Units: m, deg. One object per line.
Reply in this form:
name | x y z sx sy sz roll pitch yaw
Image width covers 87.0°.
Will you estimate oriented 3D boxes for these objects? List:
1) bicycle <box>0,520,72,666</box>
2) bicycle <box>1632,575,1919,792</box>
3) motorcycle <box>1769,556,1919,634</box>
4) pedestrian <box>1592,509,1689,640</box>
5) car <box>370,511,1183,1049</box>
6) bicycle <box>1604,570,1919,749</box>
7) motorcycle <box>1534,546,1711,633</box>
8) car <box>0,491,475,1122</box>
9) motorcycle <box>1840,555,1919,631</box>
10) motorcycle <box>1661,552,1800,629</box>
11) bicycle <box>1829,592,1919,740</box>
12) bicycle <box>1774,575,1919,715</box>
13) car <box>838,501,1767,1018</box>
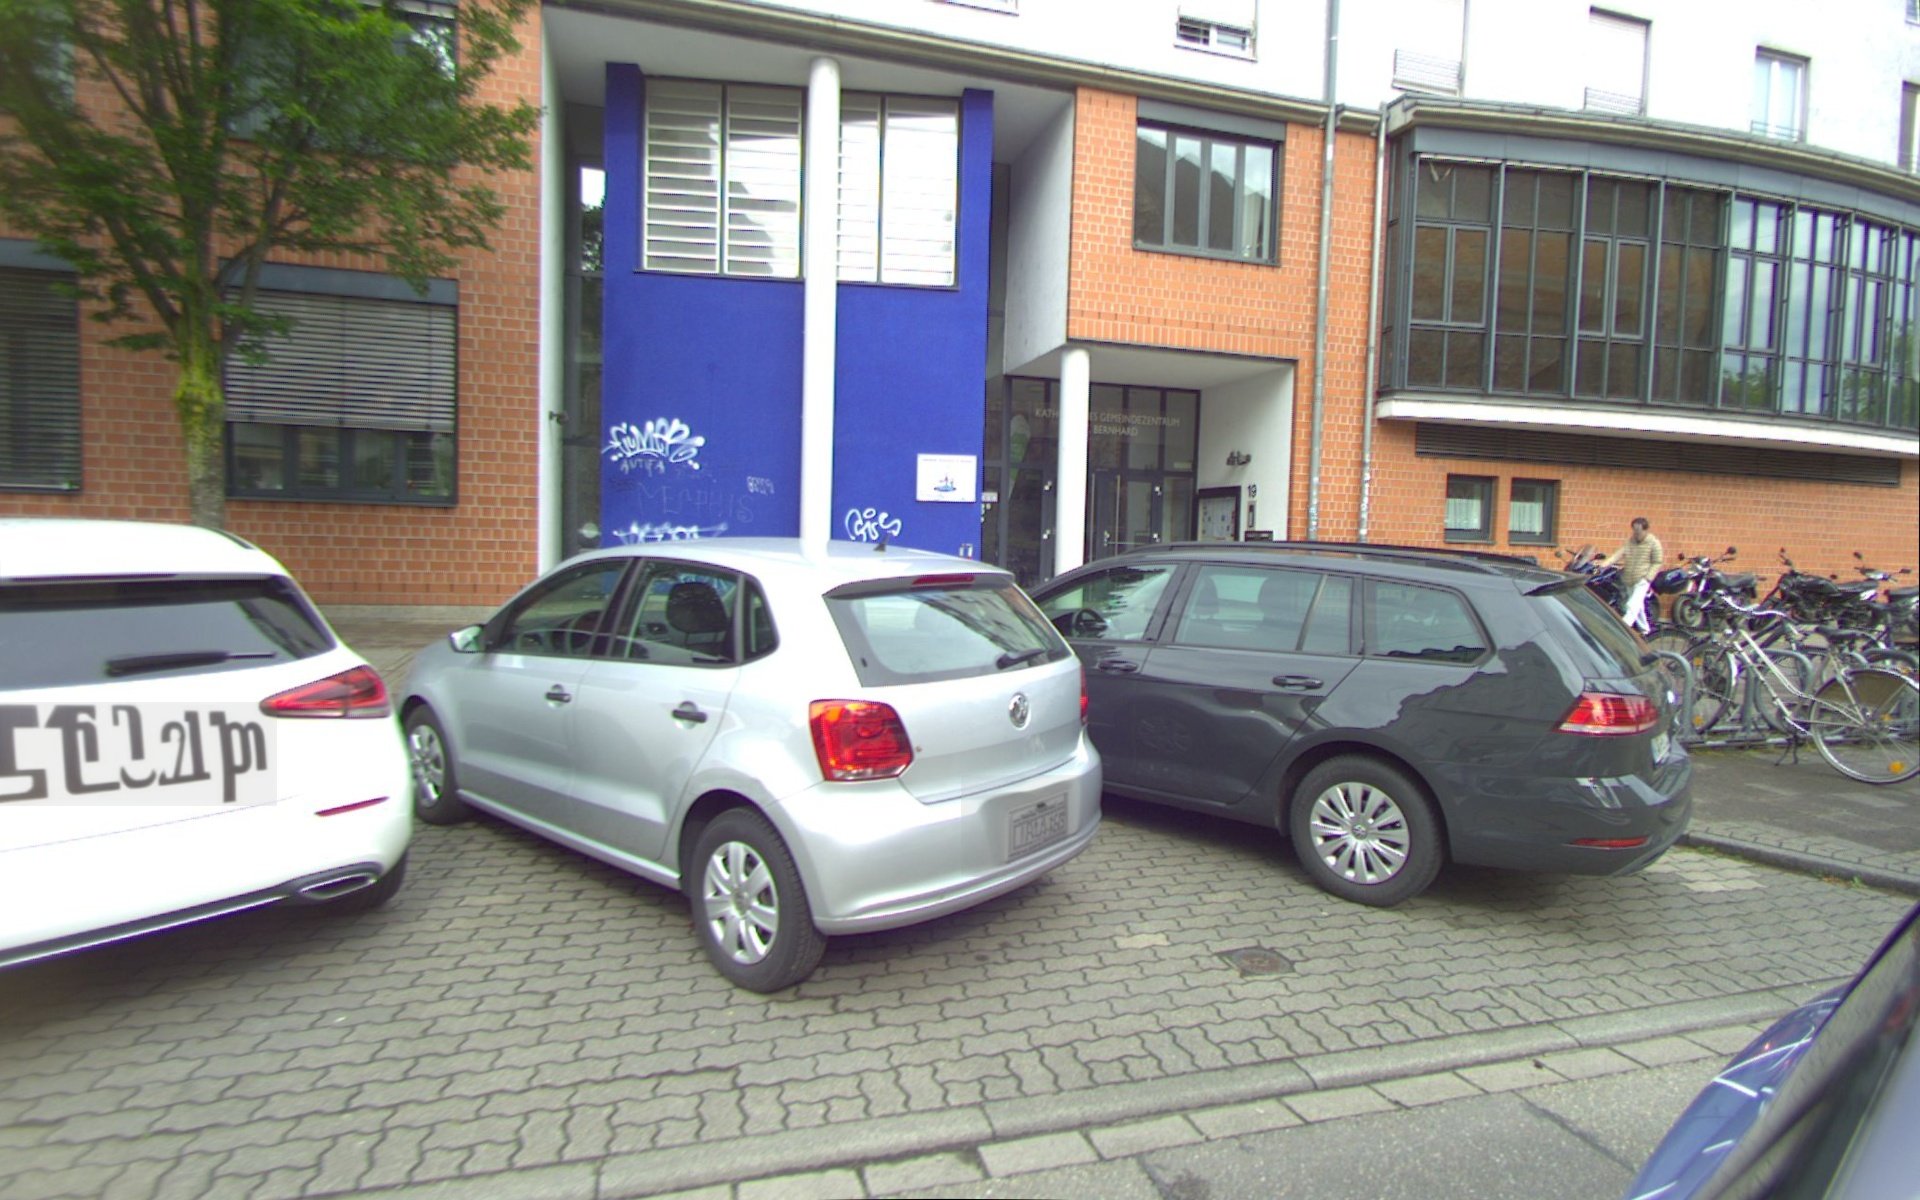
bicycle | -7.577 -0.050 7.606 0.565 1.105 1.944 -1 3 -17
bicycle | 5.608 0.470 6.711 0.599 1.154 1.895 -1 5 -19
motorcycle | 14.417 -0.090 16.450 1.851 1.157 0.602 2 4 9
pedestrian | 9.518 -0.365 14.171 0.794 1.773 0.634 0 6 -20
car | -1.019 0.400 4.668 3.549 1.517 1.820 4 3 39
bicycle | 6.253 0.390 8.056 0.599 1.154 1.895 -1 5 -19
motorcycle | 10.054 -0.169 15.380 2.162 1.216 1.034 1 4 -17
car | -3.669 0.452 4.021 3.973 1.562 1.847 2 2 43
motorcycle | 15.969 -0.106 17.063 1.540 1.207 0.602 4 4 7
motorcycle | 12.256 -0.151 16.097 2.027 1.157 0.605 0 4 -16
bicycle | 7.569 0.541 7.284 0.599 1.055 1.895 -1 5 -19
bicycle | 8.234 0.396 8.629 0.599 1.089 1.941 -1 5 -19
car | 1.479 0.357 5.406 4.272 1.597 1.837 7 7 41
